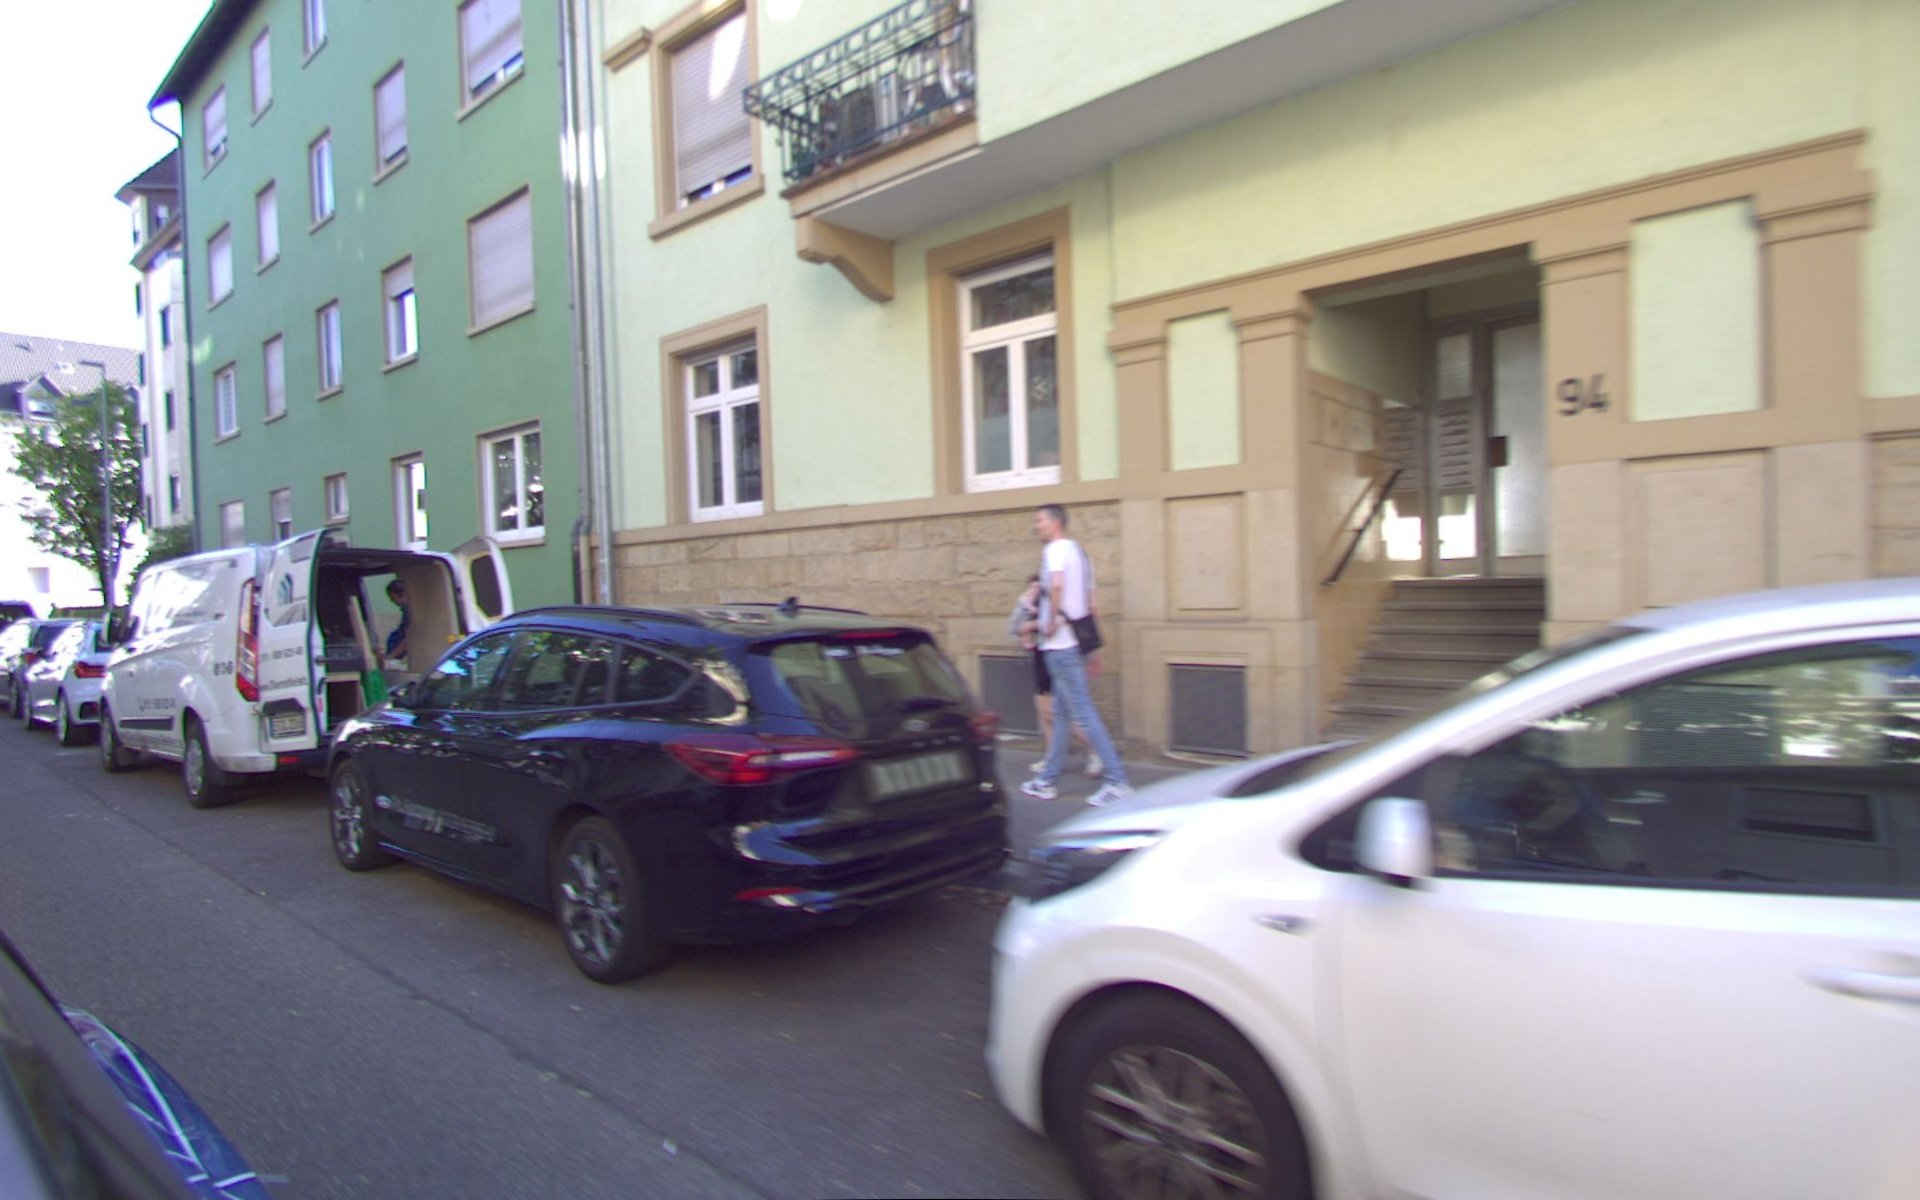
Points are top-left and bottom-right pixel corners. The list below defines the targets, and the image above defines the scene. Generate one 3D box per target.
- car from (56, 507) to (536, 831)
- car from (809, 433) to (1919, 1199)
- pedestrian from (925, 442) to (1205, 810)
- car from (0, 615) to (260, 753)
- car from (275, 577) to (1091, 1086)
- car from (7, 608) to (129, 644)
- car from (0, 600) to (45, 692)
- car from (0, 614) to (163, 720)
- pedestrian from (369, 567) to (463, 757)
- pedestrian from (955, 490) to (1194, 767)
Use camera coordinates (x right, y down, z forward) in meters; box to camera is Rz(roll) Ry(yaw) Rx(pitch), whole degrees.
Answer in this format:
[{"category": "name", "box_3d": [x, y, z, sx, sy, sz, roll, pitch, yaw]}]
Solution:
[{"category": "car", "box_3d": [-6.322, 0.507, 9.359, 5.238, 2.185, 2.229, -1, -1, 39]}, {"category": "car", "box_3d": [1.668, 0.548, 2.076, 4.086, 1.563, 1.618, 0, 1, 40]}, {"category": "pedestrian", "box_3d": [0.613, 0.124, 5.921, 1.242, 1.875, 0.982, -1, 1, 40]}, {"category": "car", "box_3d": [-10.691, 0.934, 12.910, 4.359, 1.473, 1.814, -1, -1, 40]}, {"category": "car", "box_3d": [-1.826, 0.721, 5.302, 4.822, 1.533, 1.748, -1, 0, 41]}, {"category": "car", "box_3d": [-45.603, 1.305, 51.829, 1.993, 1.569, 4.241, -2, 2, 31]}, {"category": "car", "box_3d": [-21.349, 0.949, 21.695, 4.408, 1.857, 1.755, -1, -1, 37]}, {"category": "car", "box_3d": [-14.480, 0.977, 16.206, 4.501, 1.473, 1.703, -1, -1, 38]}, {"category": "pedestrian", "box_3d": [-5.441, 0.593, 10.115, 0.844, 1.800, 0.480, -1, 1, 41]}, {"category": "pedestrian", "box_3d": [0.782, 0.163, 6.931, 1.242, 1.687, 0.982, -1, 1, 40]}]
